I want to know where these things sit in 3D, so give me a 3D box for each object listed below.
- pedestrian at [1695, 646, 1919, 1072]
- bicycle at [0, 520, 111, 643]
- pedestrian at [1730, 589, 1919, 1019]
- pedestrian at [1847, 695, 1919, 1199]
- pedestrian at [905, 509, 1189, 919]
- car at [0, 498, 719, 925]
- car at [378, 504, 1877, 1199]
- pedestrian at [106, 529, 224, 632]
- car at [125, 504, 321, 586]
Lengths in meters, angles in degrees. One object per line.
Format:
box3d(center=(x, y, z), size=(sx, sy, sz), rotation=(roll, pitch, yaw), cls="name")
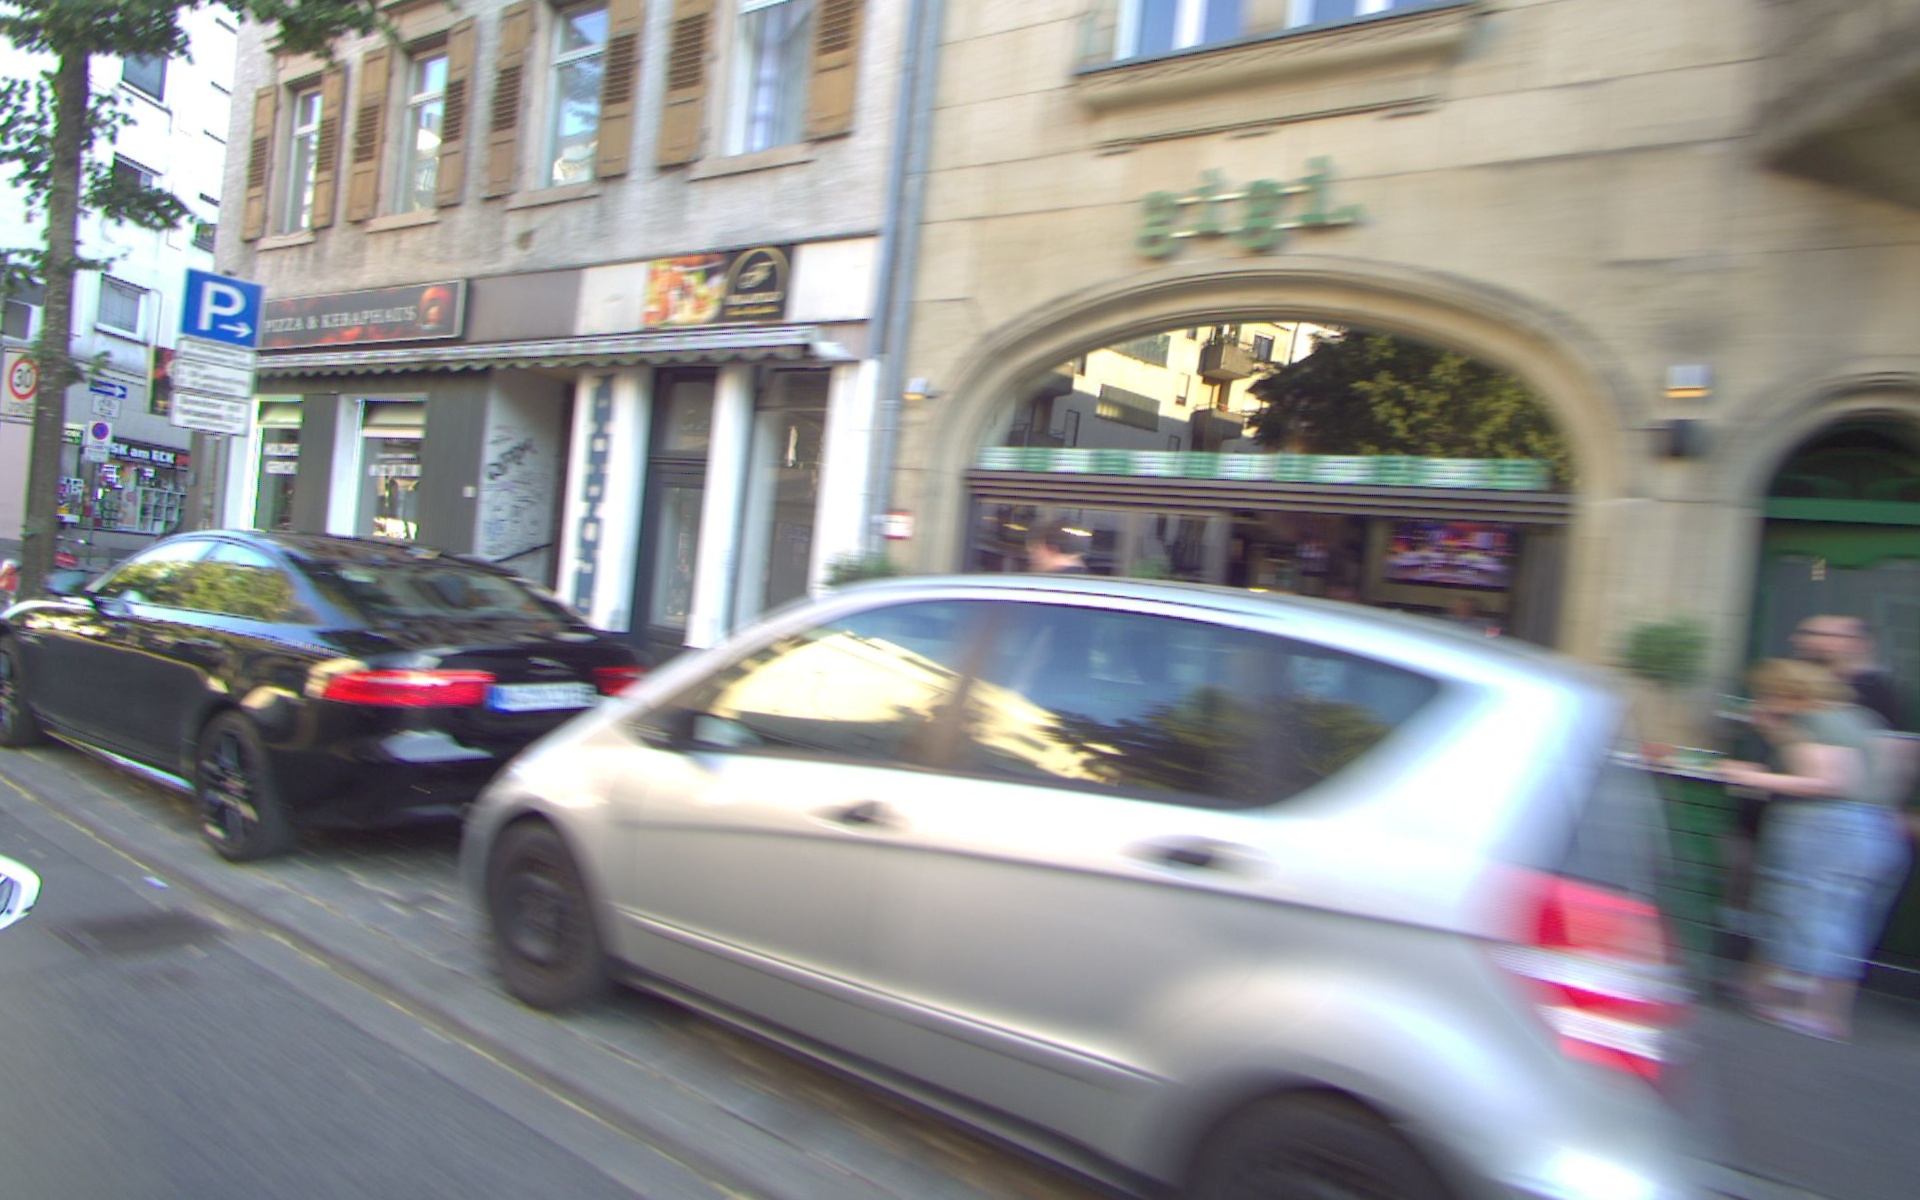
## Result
box3d(center=(3.723, 1.028, 4.325), size=(0.690, 1.583, 0.658), rotation=(7, 3, 32), cls="pedestrian")
box3d(center=(-9.660, -0.224, 10.387), size=(1.868, 1.126, 0.778), rotation=(6, 1, 32), cls="bicycle")
box3d(center=(4.212, 0.931, 4.820), size=(0.492, 1.899, 0.461), rotation=(7, 2, 16), cls="pedestrian")
box3d(center=(2.660, 0.899, 2.137), size=(0.810, 1.729, 0.679), rotation=(6, 3, 17), cls="pedestrian")
box3d(center=(0.466, 0.528, 5.332), size=(1.078, 1.879, 0.823), rotation=(7, 3, 30), cls="pedestrian")
box3d(center=(-3.654, 0.319, 5.649), size=(4.448, 1.394, 1.785), rotation=(7, 2, 31), cls="car")
box3d(center=(0.056, 0.675, 3.296), size=(3.946, 1.596, 1.687), rotation=(7, 3, 32), cls="car")
box3d(center=(-9.868, -0.243, 12.480), size=(1.339, 1.156, 0.682), rotation=(5, 1, 32), cls="pedestrian")
box3d(center=(-18.287, -1.303, 25.171), size=(1.755, 1.506, 3.678), rotation=(9, 0, 8), cls="car")
